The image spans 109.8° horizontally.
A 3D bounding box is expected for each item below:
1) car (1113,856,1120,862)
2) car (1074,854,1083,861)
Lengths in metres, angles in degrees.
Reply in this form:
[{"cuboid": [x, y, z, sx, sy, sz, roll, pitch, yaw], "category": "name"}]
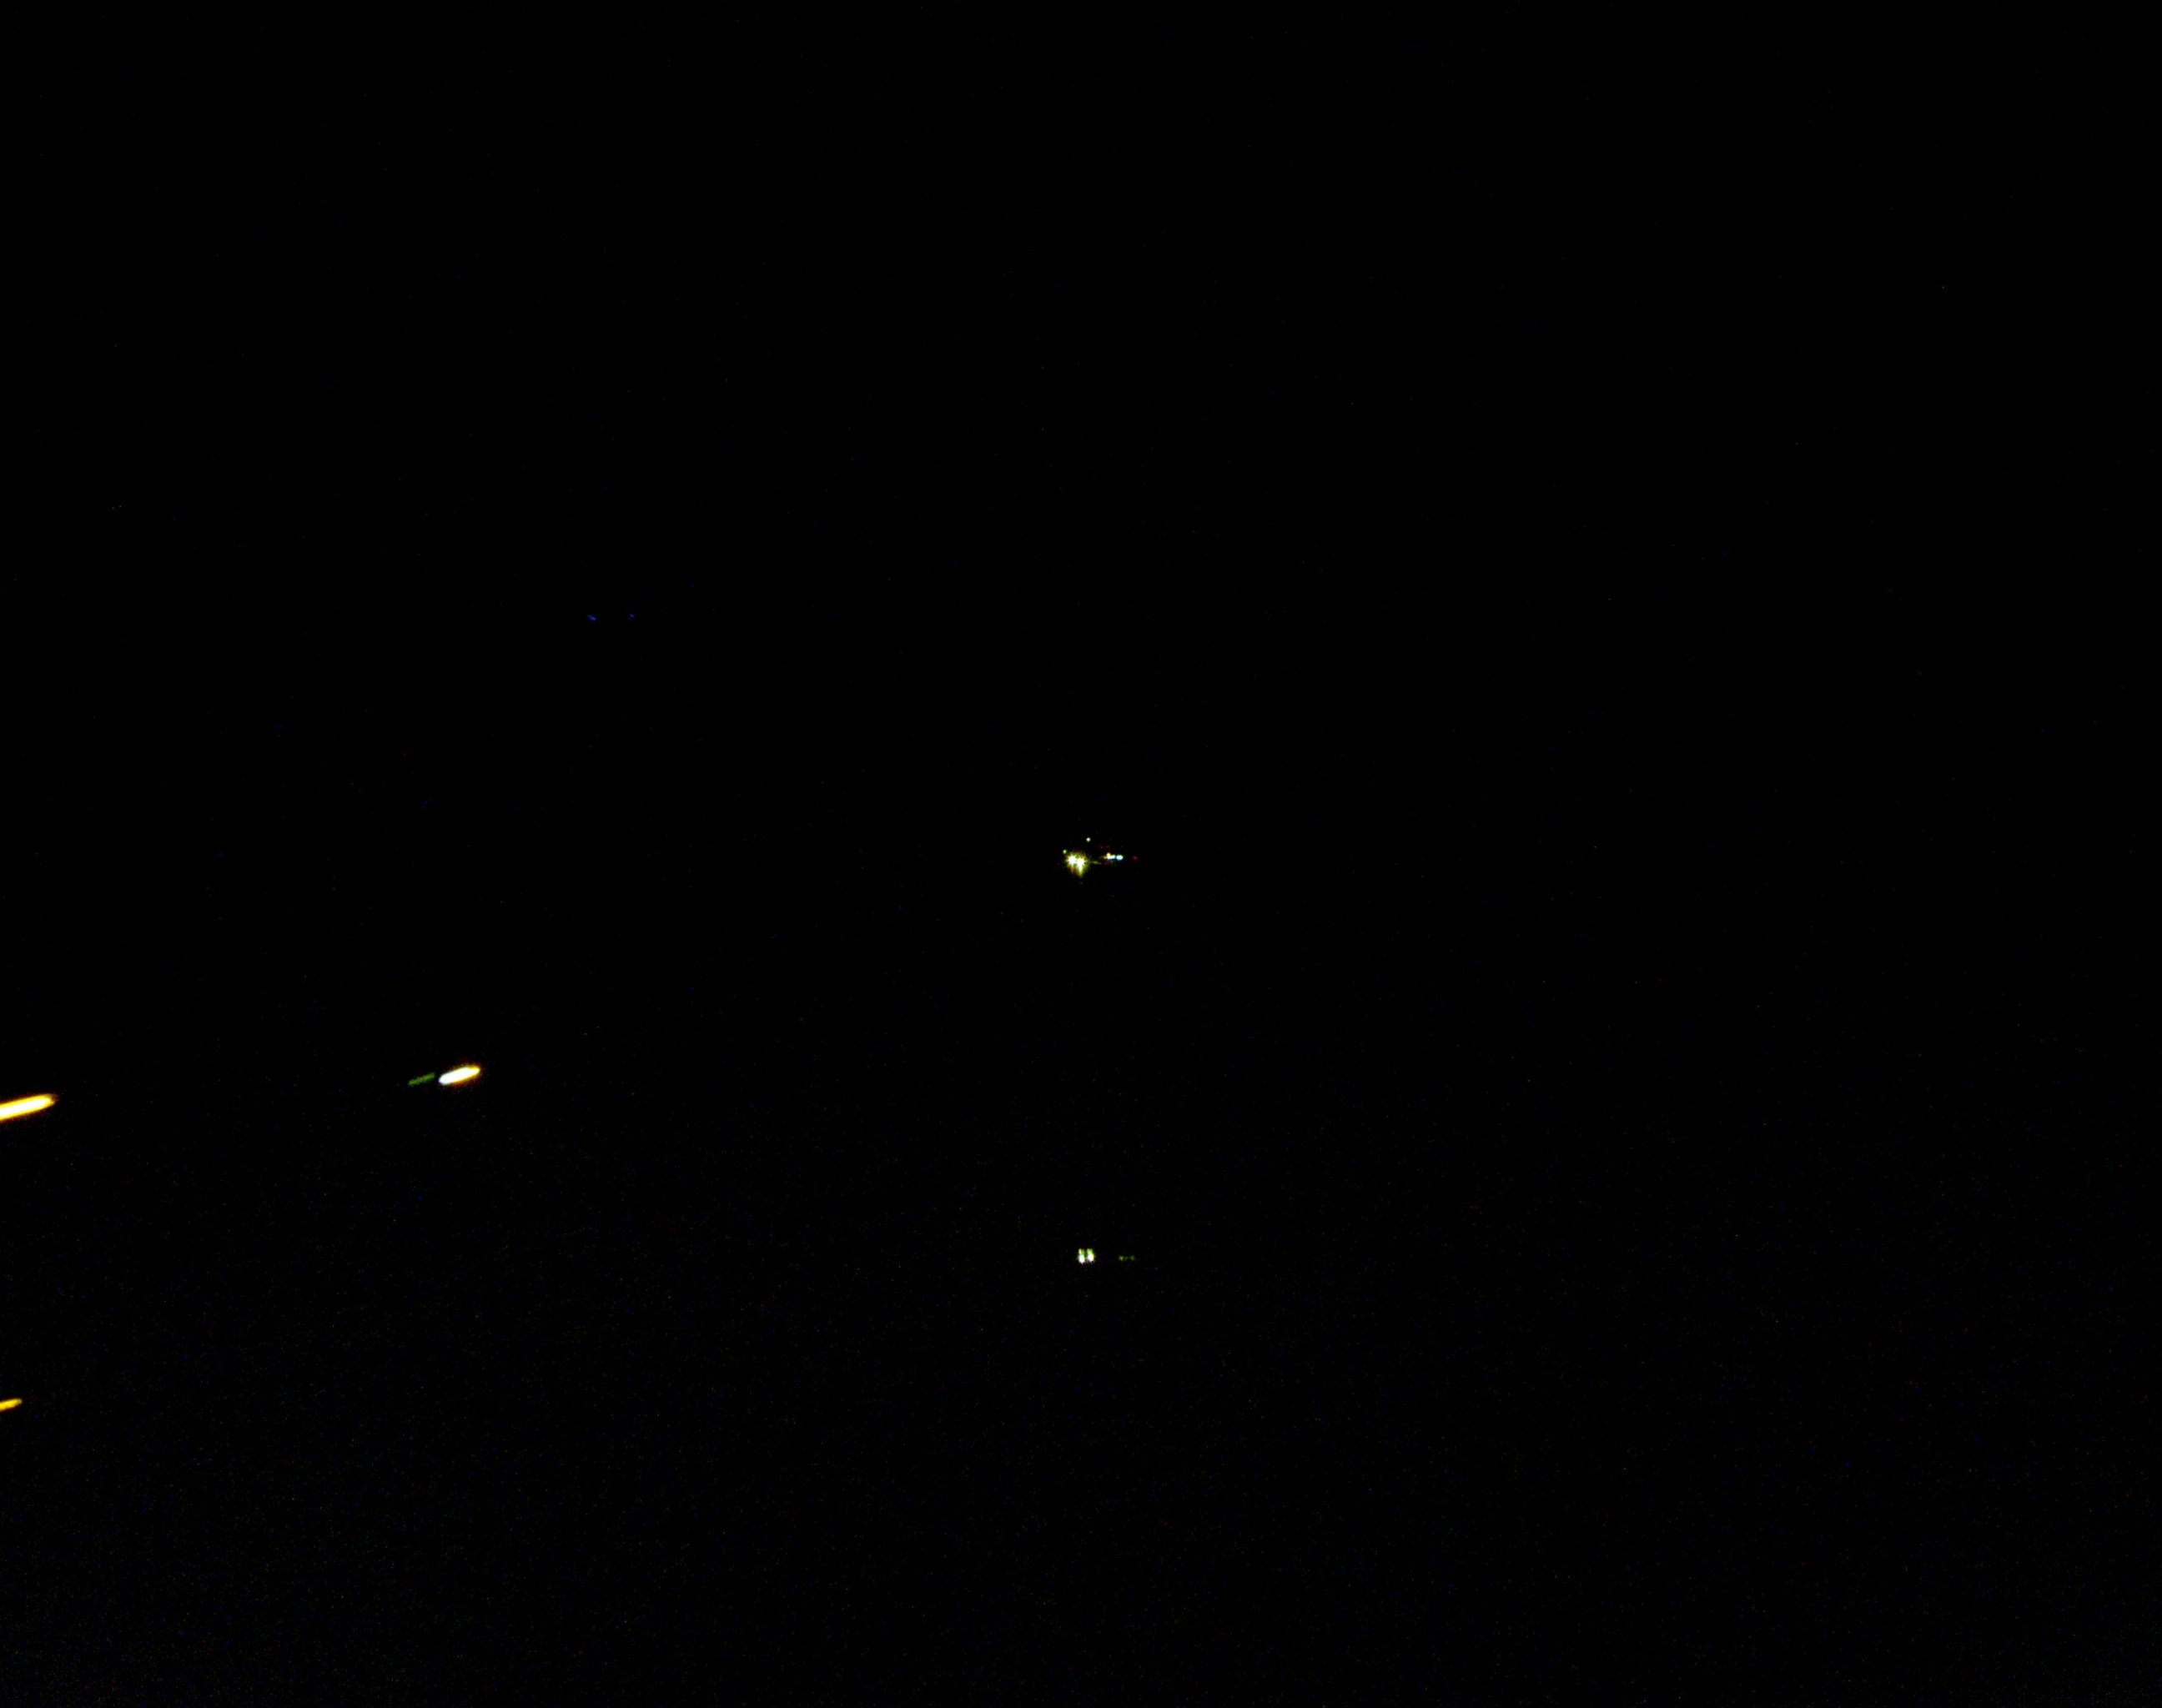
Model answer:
[{"cuboid": [9.406, 1.393, 203.494, 1.621, 1.498, 3.868, -2, 0, 0], "category": "car"}, {"cuboid": [-0.507, 0.624, 146.138, 1.570, 1.336, 4.166, -2, 0, 0], "category": "car"}]
